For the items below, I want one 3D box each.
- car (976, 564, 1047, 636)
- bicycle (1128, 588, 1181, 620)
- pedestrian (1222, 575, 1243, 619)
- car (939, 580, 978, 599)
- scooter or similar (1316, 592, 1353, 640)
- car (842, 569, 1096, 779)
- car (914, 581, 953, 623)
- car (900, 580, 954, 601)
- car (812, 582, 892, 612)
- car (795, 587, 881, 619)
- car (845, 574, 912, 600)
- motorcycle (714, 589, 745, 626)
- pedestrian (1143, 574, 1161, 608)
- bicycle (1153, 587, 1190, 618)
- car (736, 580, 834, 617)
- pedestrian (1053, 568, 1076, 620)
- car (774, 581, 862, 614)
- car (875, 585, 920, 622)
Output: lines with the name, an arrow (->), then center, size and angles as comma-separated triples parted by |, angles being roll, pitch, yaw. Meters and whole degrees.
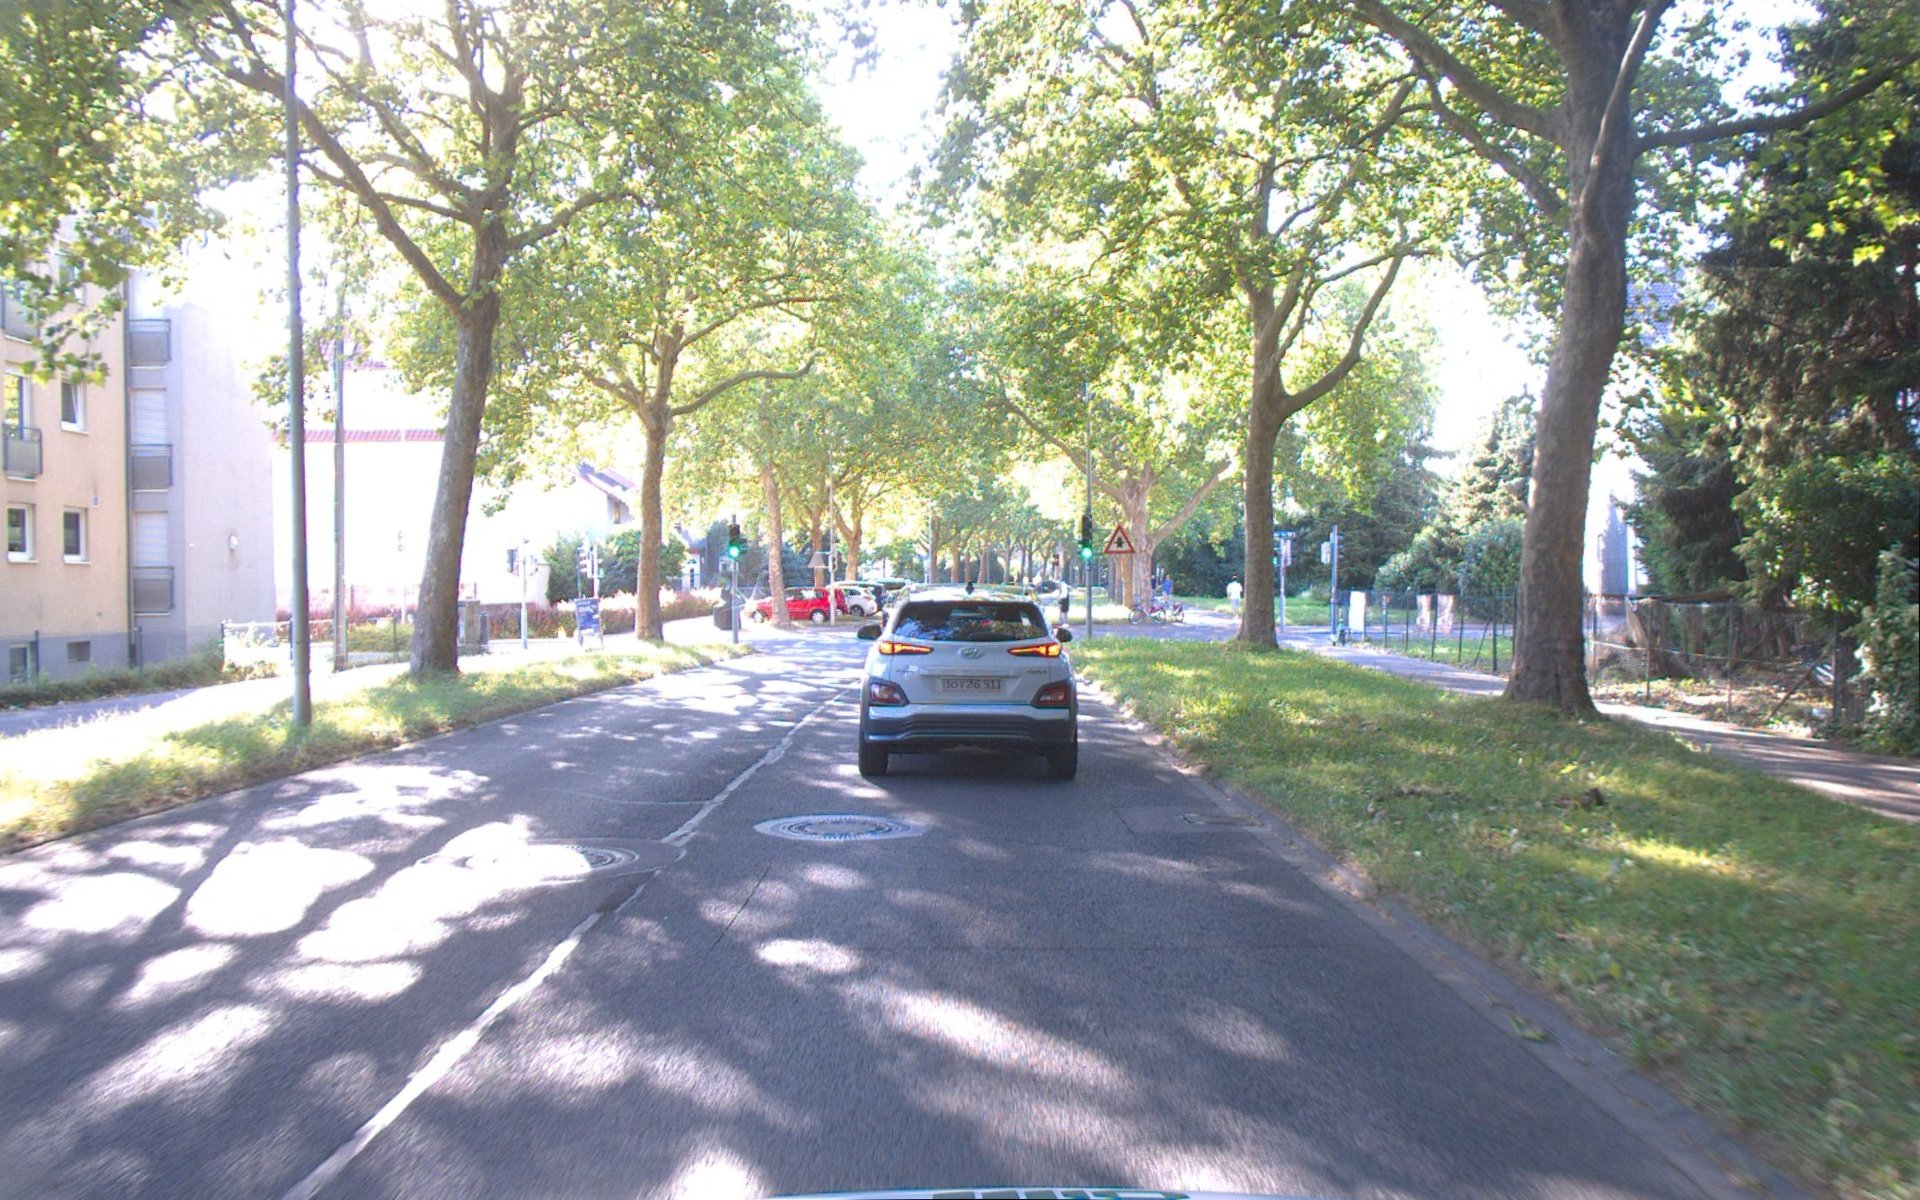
car -> 1.481, -0.024, 48.901 | 1.953, 2.049, 4.000 | 0, 0, 0
bicycle -> 7.428, 0.149, 63.223 | 0.600, 1.184, 2.116 | 1, 0, -42
pedestrian -> 11.022, -0.129, 66.821 | 0.816, 1.766, 0.886 | 0, 0, 9
car -> -0.117, -0.988, 161.409 | 3.601, 1.840, 1.746 | 0, 0, -9
scooter or similar -> 10.243, 0.421, 45.242 | 0.538, 1.280, 2.313 | 0, 0, 2
car -> 0.075, 0.568, 14.769 | 1.953, 1.602, 4.000 | 0, 0, 0
car -> -1.224, 0.079, 78.541 | 1.754, 1.914, 4.000 | 0, 0, 0
car -> -2.425, -0.712, 123.356 | 3.904, 1.504, 2.000 | 0, 0, 1
car -> -5.475, -0.159, 84.255 | 3.904, 1.504, 2.000 | 0, 0, 1
car -> -5.844, 0.145, 79.722 | 3.904, 1.504, 2.001 | 0, 0, 2
car -> -4.877, -0.754, 99.419 | 3.904, 1.504, 2.000 | 0, 0, 1
motorcycle -> -9.101, 0.294, 65.349 | 0.828, 1.403, 2.776 | 0, 0, 0
pedestrian -> 11.675, -0.527, 100.598 | 1.071, 2.049, 1.106 | 0, 0, 7
bicycle -> 8.211, 0.100, 64.287 | 0.594, 1.204, 2.107 | 1, 0, -18
car -> -7.365, -0.060, 69.929 | 3.904, 1.504, 2.000 | 0, 0, 1
pedestrian -> 4.104, -0.230, 64.925 | 0.849, 2.049, 0.814 | 0, 0, 9
car -> -6.626, -0.117, 77.495 | 3.904, 1.504, 2.000 | 0, 0, 1
car -> -2.569, 0.135, 69.041 | 1.653, 1.462, 3.682 | 0, 1, 1
